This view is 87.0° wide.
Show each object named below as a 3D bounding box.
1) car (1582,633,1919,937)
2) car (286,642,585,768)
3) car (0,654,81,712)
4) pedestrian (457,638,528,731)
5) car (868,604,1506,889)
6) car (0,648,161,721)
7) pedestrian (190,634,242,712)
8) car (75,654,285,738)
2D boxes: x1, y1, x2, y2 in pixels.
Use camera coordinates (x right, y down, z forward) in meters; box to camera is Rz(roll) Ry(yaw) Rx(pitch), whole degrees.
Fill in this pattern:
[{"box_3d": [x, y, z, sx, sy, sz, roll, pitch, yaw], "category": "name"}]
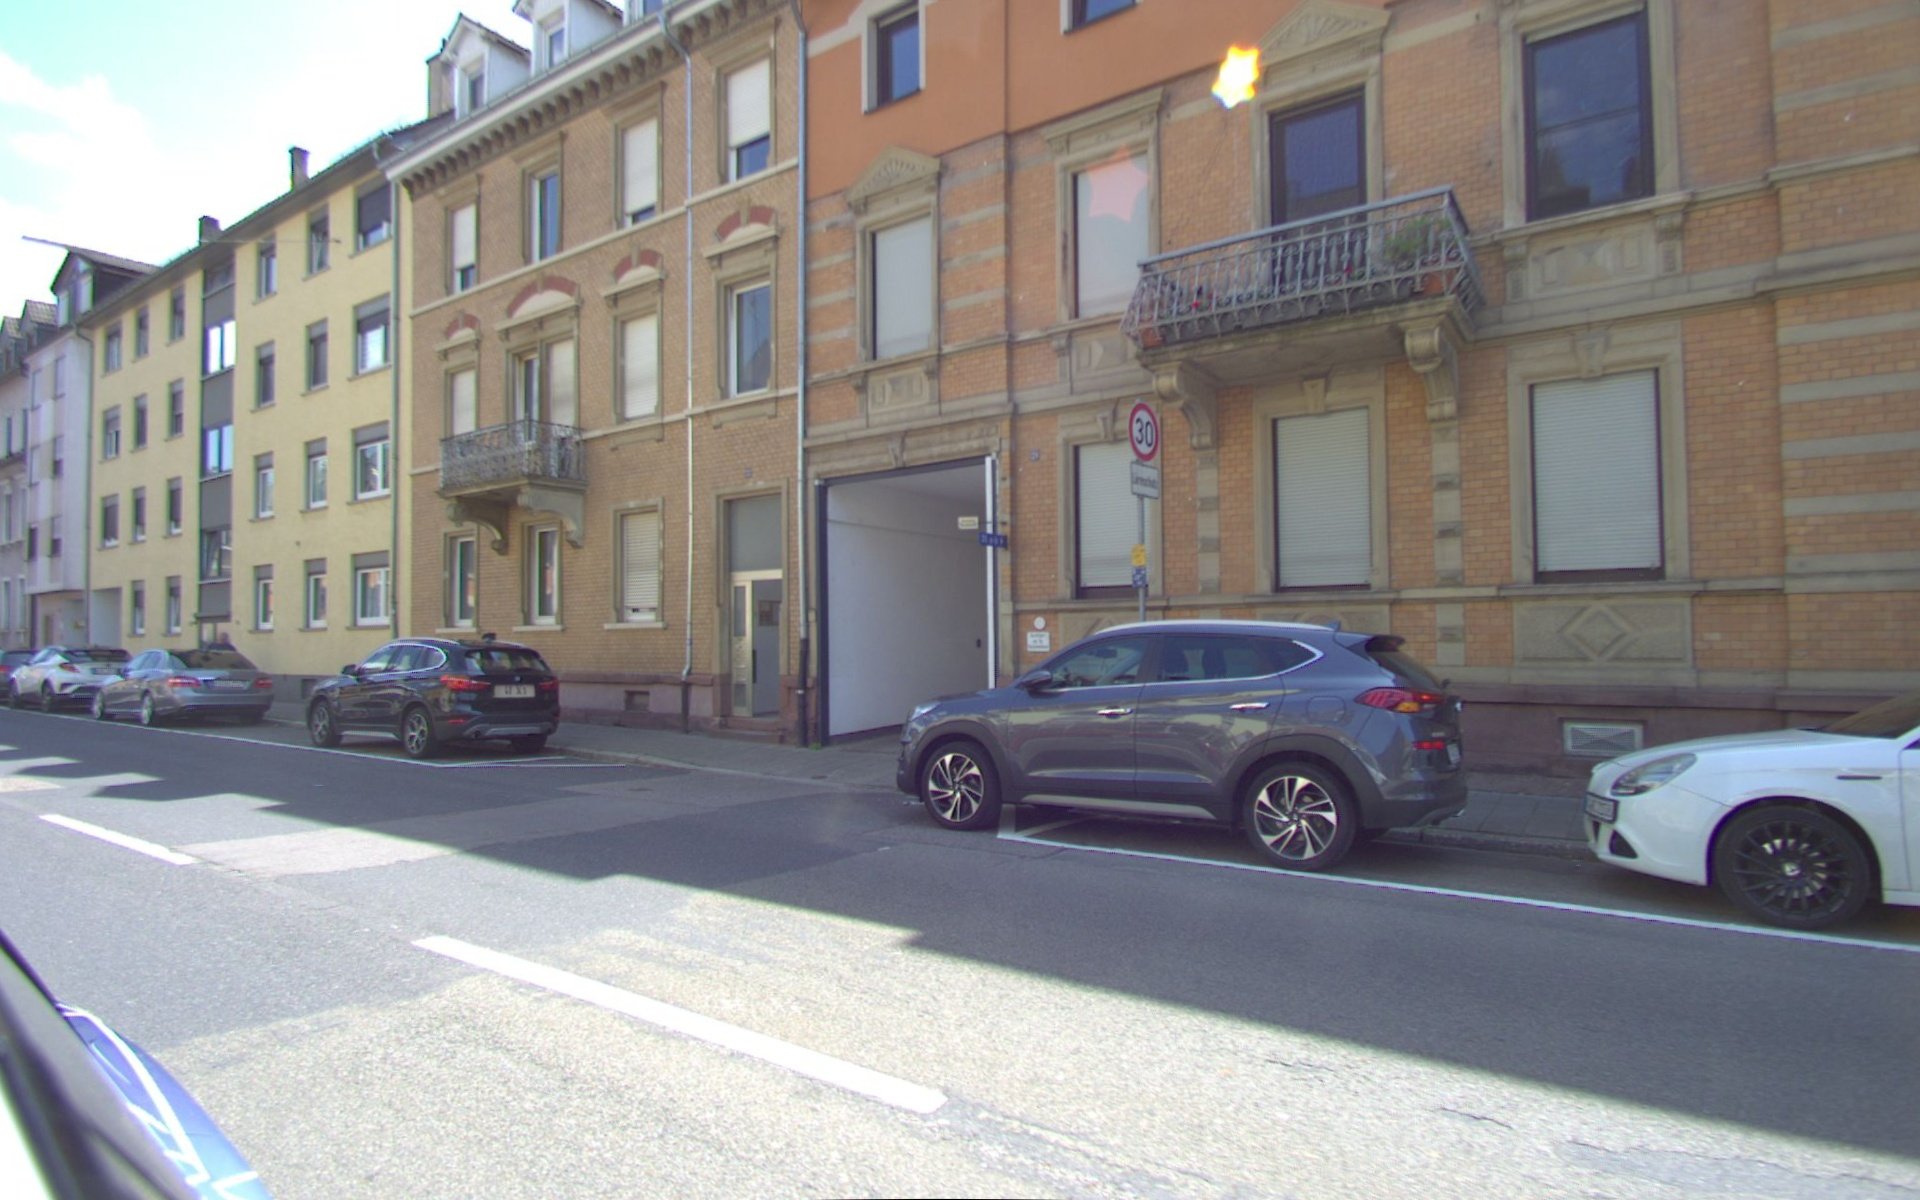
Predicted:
[{"box_3d": [5.754, 0.930, 5.132, 4.320, 1.437, 1.849, -2, -6, 35], "category": "car"}, {"box_3d": [-7.659, 1.461, 14.657, 4.488, 1.563, 1.849, -2, -6, 34], "category": "car"}, {"box_3d": [-24.707, 2.159, 26.414, 3.907, 1.422, 1.729, -3, -6, 36], "category": "car"}, {"box_3d": [-8.021, 1.426, 17.361, 0.875, 1.546, 0.794, -3, -4, 40], "category": "pedestrian"}, {"box_3d": [1.624, 0.997, 7.911, 4.488, 1.640, 1.849, -2, -6, 34], "category": "car"}, {"box_3d": [-20.595, 1.956, 23.584, 4.303, 1.563, 1.849, -2, -6, 35], "category": "car"}, {"box_3d": [-17.377, 1.692, 23.642, 0.876, 1.769, 0.794, -3, -4, 43], "category": "pedestrian"}, {"box_3d": [-15.345, 1.834, 19.830, 4.675, 1.463, 1.888, -2, -6, 35], "category": "car"}]
